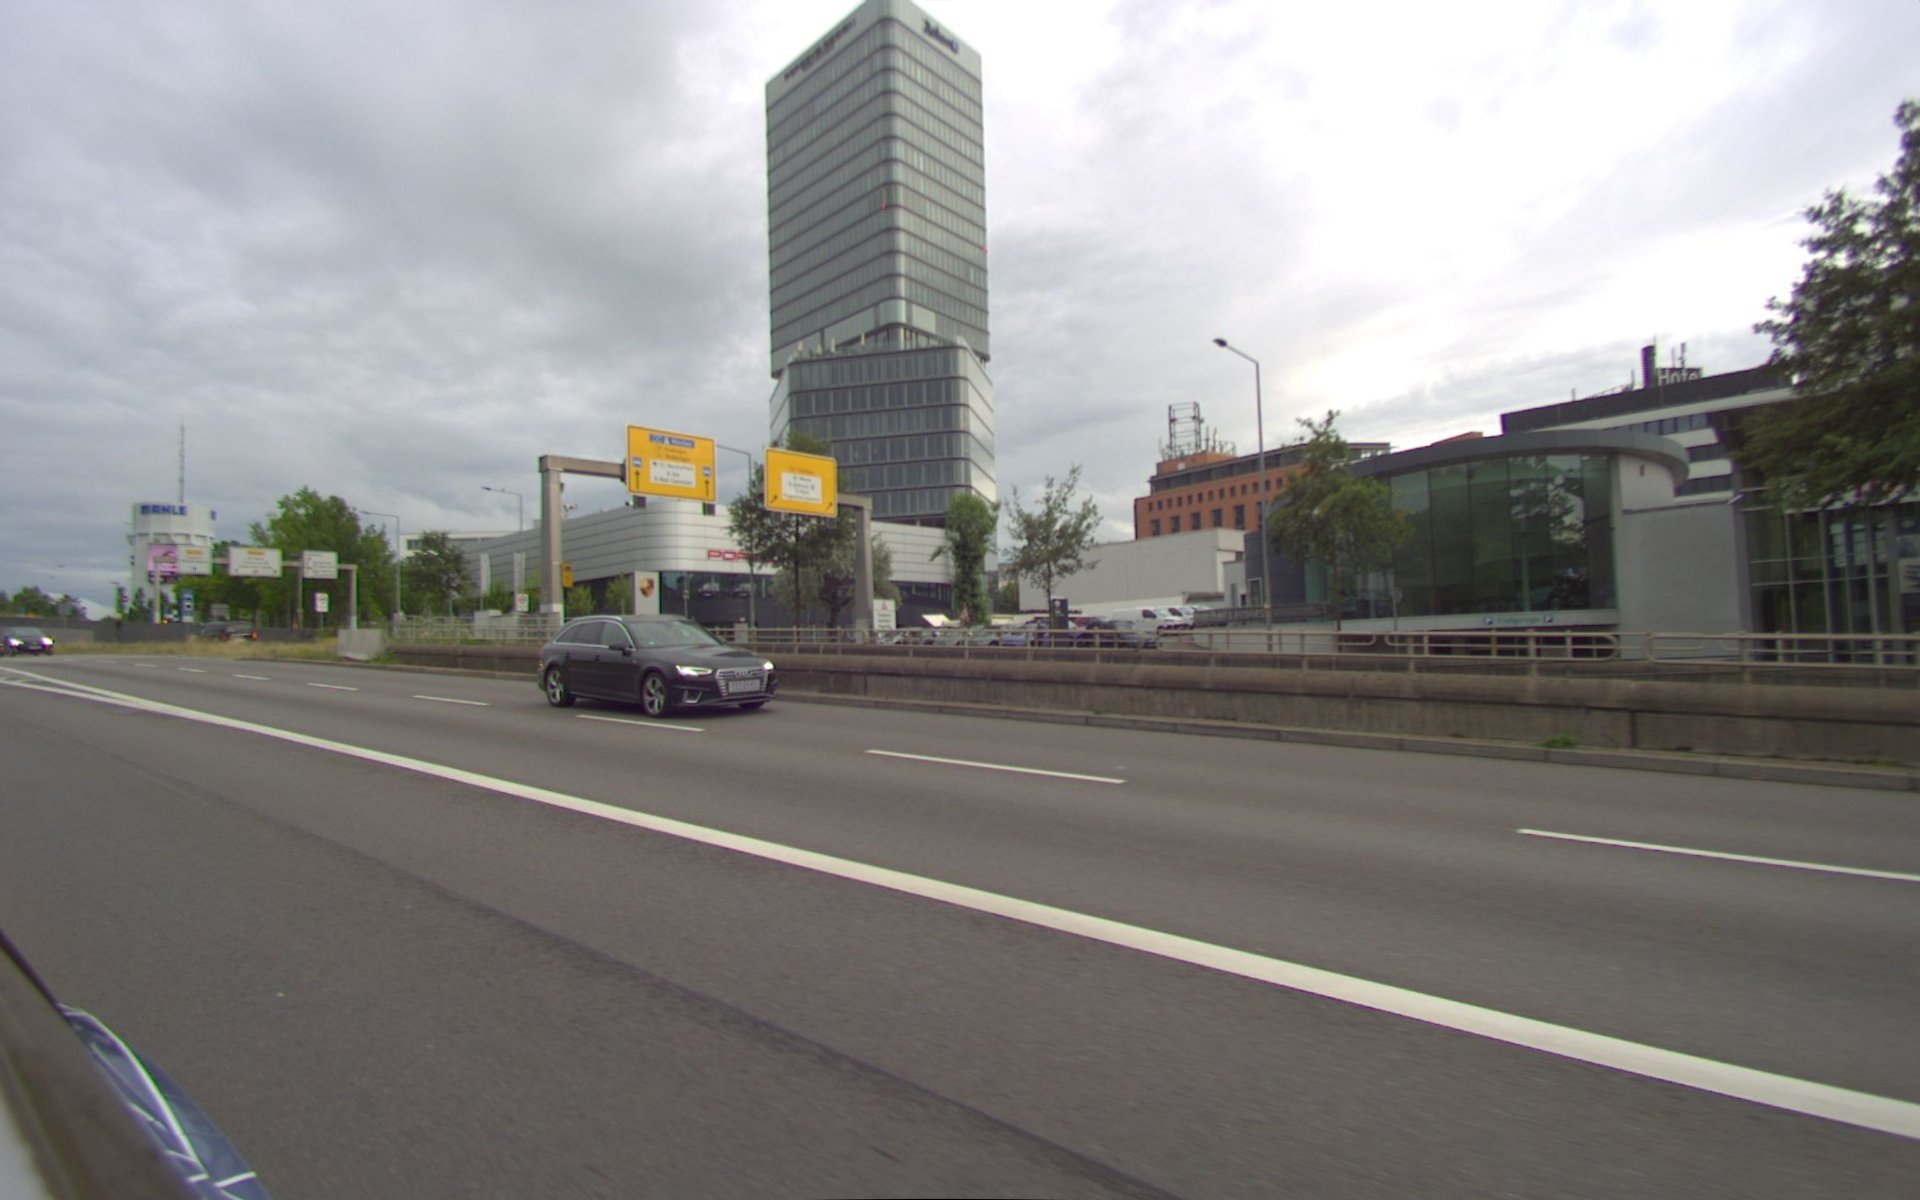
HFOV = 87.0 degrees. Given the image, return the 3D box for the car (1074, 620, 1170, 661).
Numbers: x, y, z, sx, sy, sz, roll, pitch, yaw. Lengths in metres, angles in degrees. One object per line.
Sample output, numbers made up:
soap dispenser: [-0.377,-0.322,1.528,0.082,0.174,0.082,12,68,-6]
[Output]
car: [7.477,1.922,47.217,1.890,1.696,4.515,-2,-2,-30]

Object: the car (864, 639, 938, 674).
car: [-3.333,3.221,57.641,1.923,1.696,3.945,-5,-3,42]

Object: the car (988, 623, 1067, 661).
car: [3.462,2.114,51.384,1.923,1.696,3.945,-5,-3,42]

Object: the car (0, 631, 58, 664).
car: [-48.659,2.441,52.607,3.992,1.644,1.851,-1,-1,36]

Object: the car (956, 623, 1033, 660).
car: [1.837,2.166,53.088,1.923,1.696,3.945,-5,-3,42]

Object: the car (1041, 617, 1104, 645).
car: [7.857,2.173,70.726,1.894,1.696,4.003,-2,-3,-43]

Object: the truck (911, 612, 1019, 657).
truck: [0.250,2.288,66.714,7.412,2.547,2.340,-5,-3,44]

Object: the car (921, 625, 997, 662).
car: [-0.019,2.332,54.636,1.923,1.696,3.945,-5,-3,42]

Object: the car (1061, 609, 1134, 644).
car: [8.320,1.636,61.572,1.879,1.896,4.004,-2,-3,-43]

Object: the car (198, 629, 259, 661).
car: [-46.100,2.815,63.753,4.623,1.843,1.793,-1,0,37]

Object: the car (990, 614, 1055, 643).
car: [4.129,1.888,67.410,1.894,1.696,4.003,-2,-3,-43]

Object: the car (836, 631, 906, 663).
car: [-5.165,2.740,59.257,1.699,1.612,3.958,-5,-3,42]

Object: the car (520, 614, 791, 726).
car: [-4.701,0.946,15.227,4.630,1.430,1.790,-1,-2,42]

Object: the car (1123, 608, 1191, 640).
car: [13.160,1.636,67.897,1.970,1.896,4.004,-2,-3,-43]

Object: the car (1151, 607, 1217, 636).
car: [15.342,1.479,69.369,1.894,1.696,4.003,-2,-3,-43]

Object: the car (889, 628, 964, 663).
car: [-1.829,2.506,56.236,1.923,1.696,3.945,-5,-3,42]

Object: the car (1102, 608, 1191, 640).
car: [12.055,1.555,65.615,1.970,1.896,5.541,-2,-1,-43]

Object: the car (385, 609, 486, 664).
car: [-17.409,1.217,33.548,3.545,1.602,1.671,-5,-3,39]
